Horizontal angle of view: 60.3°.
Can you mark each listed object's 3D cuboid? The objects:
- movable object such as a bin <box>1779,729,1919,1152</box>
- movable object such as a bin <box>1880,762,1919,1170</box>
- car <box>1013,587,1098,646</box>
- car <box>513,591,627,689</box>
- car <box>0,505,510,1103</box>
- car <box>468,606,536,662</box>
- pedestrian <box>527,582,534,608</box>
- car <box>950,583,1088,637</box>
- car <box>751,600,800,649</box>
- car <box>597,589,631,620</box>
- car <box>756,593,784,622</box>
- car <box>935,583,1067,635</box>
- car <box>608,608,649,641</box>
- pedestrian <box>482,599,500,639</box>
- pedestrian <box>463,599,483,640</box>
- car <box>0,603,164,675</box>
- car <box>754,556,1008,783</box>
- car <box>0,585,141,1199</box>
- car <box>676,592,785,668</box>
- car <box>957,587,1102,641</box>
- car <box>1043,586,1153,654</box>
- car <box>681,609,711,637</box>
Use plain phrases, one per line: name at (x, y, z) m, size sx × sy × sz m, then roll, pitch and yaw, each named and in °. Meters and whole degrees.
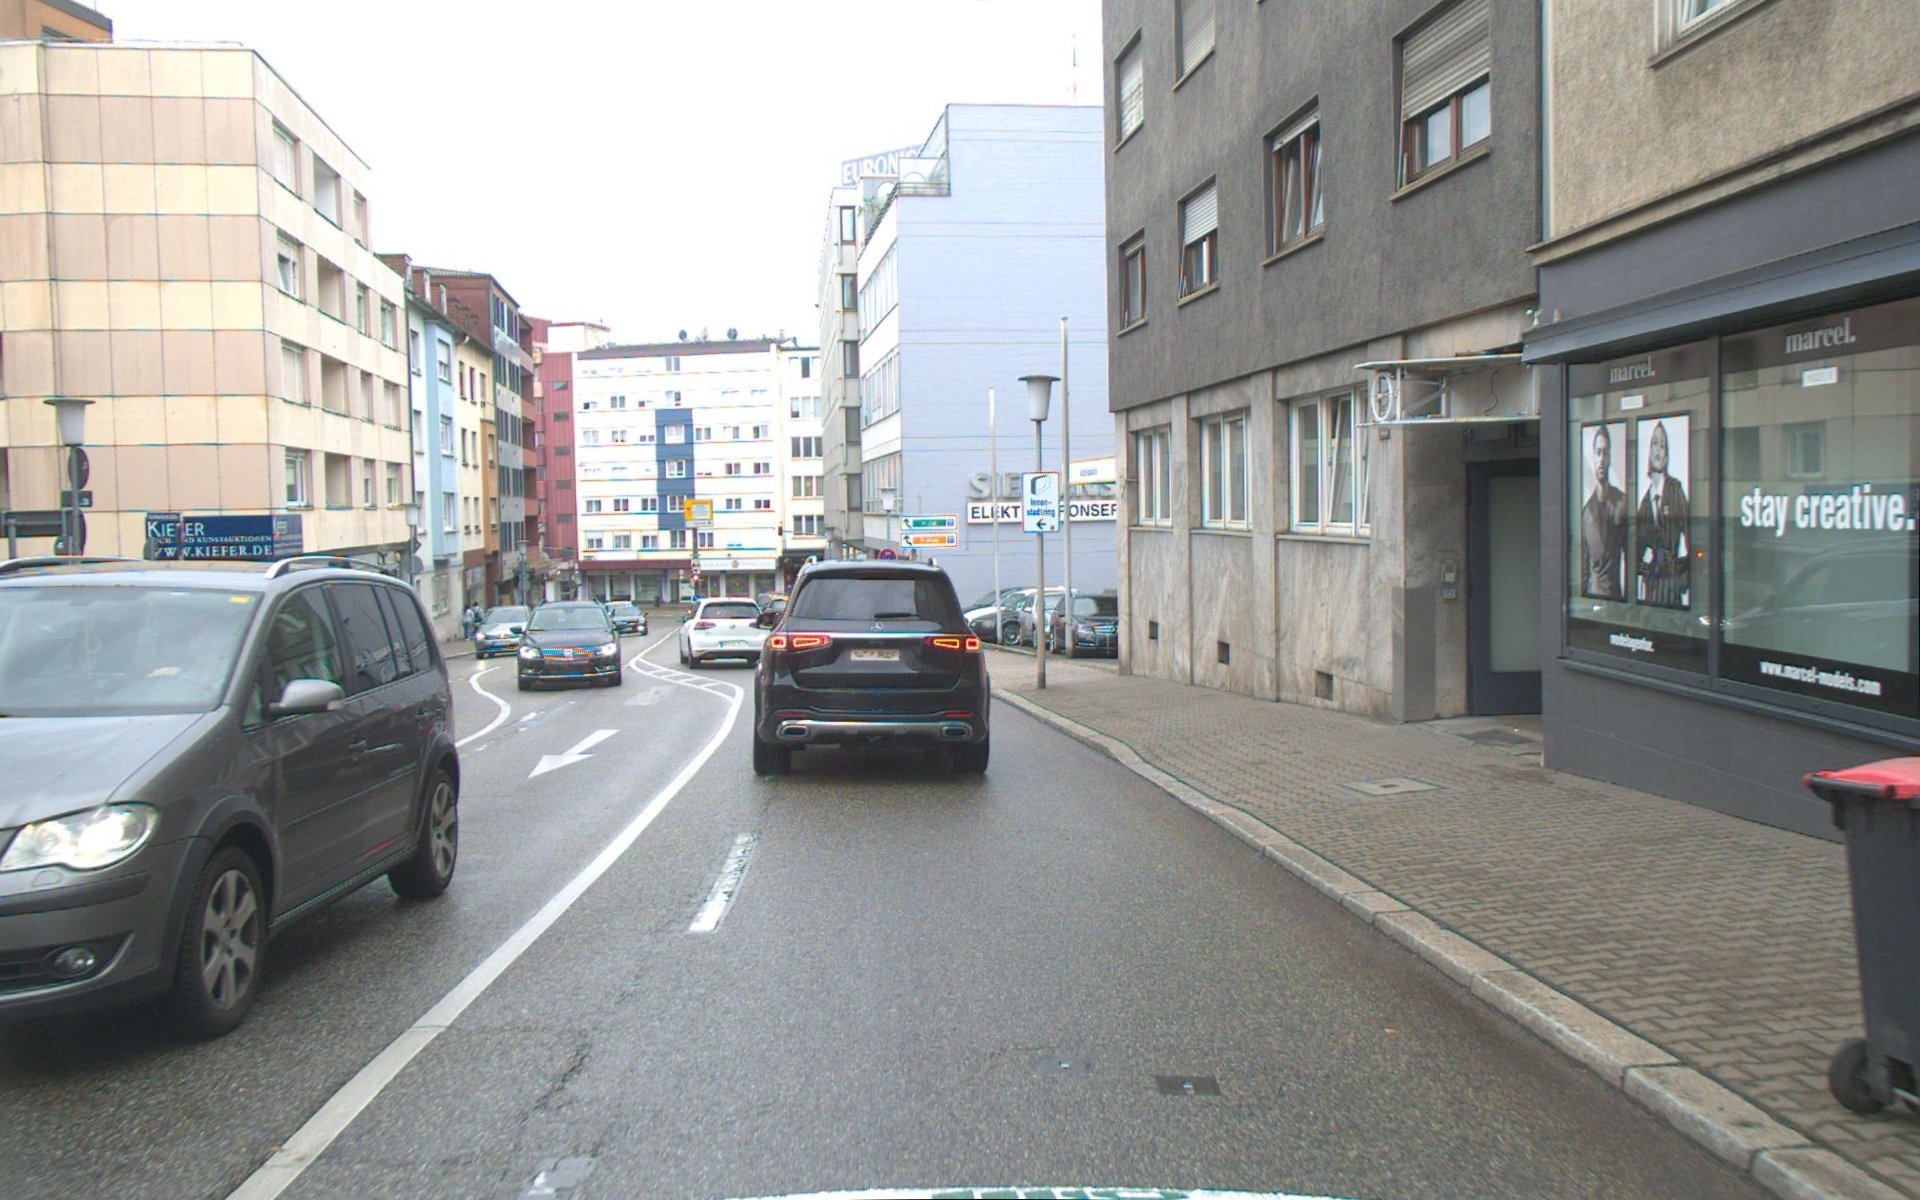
movable object such as a bin at (2.602, 0.885, 4.444) m, size 0.514 × 0.997 × 0.538 m, roll 0°, pitch 4°, yaw 0°
movable object such as a bin at (2.578, 0.905, 3.881) m, size 0.514 × 0.966 × 0.538 m, roll 0°, pitch 4°, yaw 0°
car at (2.517, 0.408, 44.442) m, size 1.536 × 1.503 × 4.062 m, roll 0°, pitch 0°, yaw -8°
car at (-6.898, 0.688, 29.570) m, size 1.692 × 1.542 × 4.358 m, roll -2°, pitch 0°, yaw -10°
car at (-3.361, 0.596, 7.055) m, size 1.770 × 1.735 × 4.559 m, roll 1°, pitch 0°, yaw -2°
car at (-14.405, 1.061, 52.185) m, size 1.685 × 1.614 × 4.131 m, roll -4°, pitch 0°, yaw -12°
pedestrian at (-25.213, -0.298, 96.999) m, size 0.312 × 1.499 × 0.338 m, roll -1°, pitch 4°, yaw -3°
car at (1.831, 0.320, 51.095) m, size 3.939 × 1.625 × 1.783 m, roll 0°, pitch -1°, yaw -27°
car at (-6.459, 0.836, 57.755) m, size 1.495 × 1.575 × 3.100 m, roll -1°, pitch 1°, yaw -10°
car at (-21.839, 0.254, 104.507) m, size 1.835 × 1.783 × 4.390 m, roll -4°, pitch 1°, yaw -9°
car at (-10.681, 0.395, 92.921) m, size 1.493 × 1.575 × 3.103 m, roll -1°, pitch 1°, yaw -6°
car at (1.328, 0.320, 53.656) m, size 3.939 × 1.625 × 1.783 m, roll 0°, pitch -1°, yaw -27°
car at (-14.825, 1.059, 73.855) m, size 1.685 × 1.340 × 4.130 m, roll -2°, pitch 1°, yaw -13°
pedestrian at (-20.138, 0.815, 71.067) m, size 0.659 × 1.680 × 0.604 m, roll -1°, pitch 4°, yaw -11°
pedestrian at (-20.757, 0.817, 70.525) m, size 0.726 × 1.680 × 0.604 m, roll -1°, pitch 4°, yaw -11°
car at (-20.030, 0.833, 36.240) m, size 4.242 × 1.539 × 1.899 m, roll 0°, pitch 0°, yaw 3°
car at (-0.853, 0.552, 15.424) m, size 1.982 × 1.770 × 4.741 m, roll 1°, pitch 0°, yaw -6°
car at (-2.862, 0.700, 1.972) m, size 1.664 × 1.506 × 4.290 m, roll 1°, pitch 0°, yaw -1°
car at (-5.073, 0.616, 36.087) m, size 1.800 × 1.487 × 4.361 m, roll -2°, pitch 0°, yaw -15°
car at (2.049, 0.426, 48.546) m, size 3.939 × 1.521 × 1.718 m, roll 0°, pitch -1°, yaw -27°
car at (3.184, 0.423, 38.948) m, size 1.762 × 1.503 × 4.479 m, roll 0°, pitch 0°, yaw -6°
car at (-13.162, 1.131, 82.533) m, size 1.260 × 1.143 × 2.786 m, roll -1°, pitch 4°, yaw -4°
